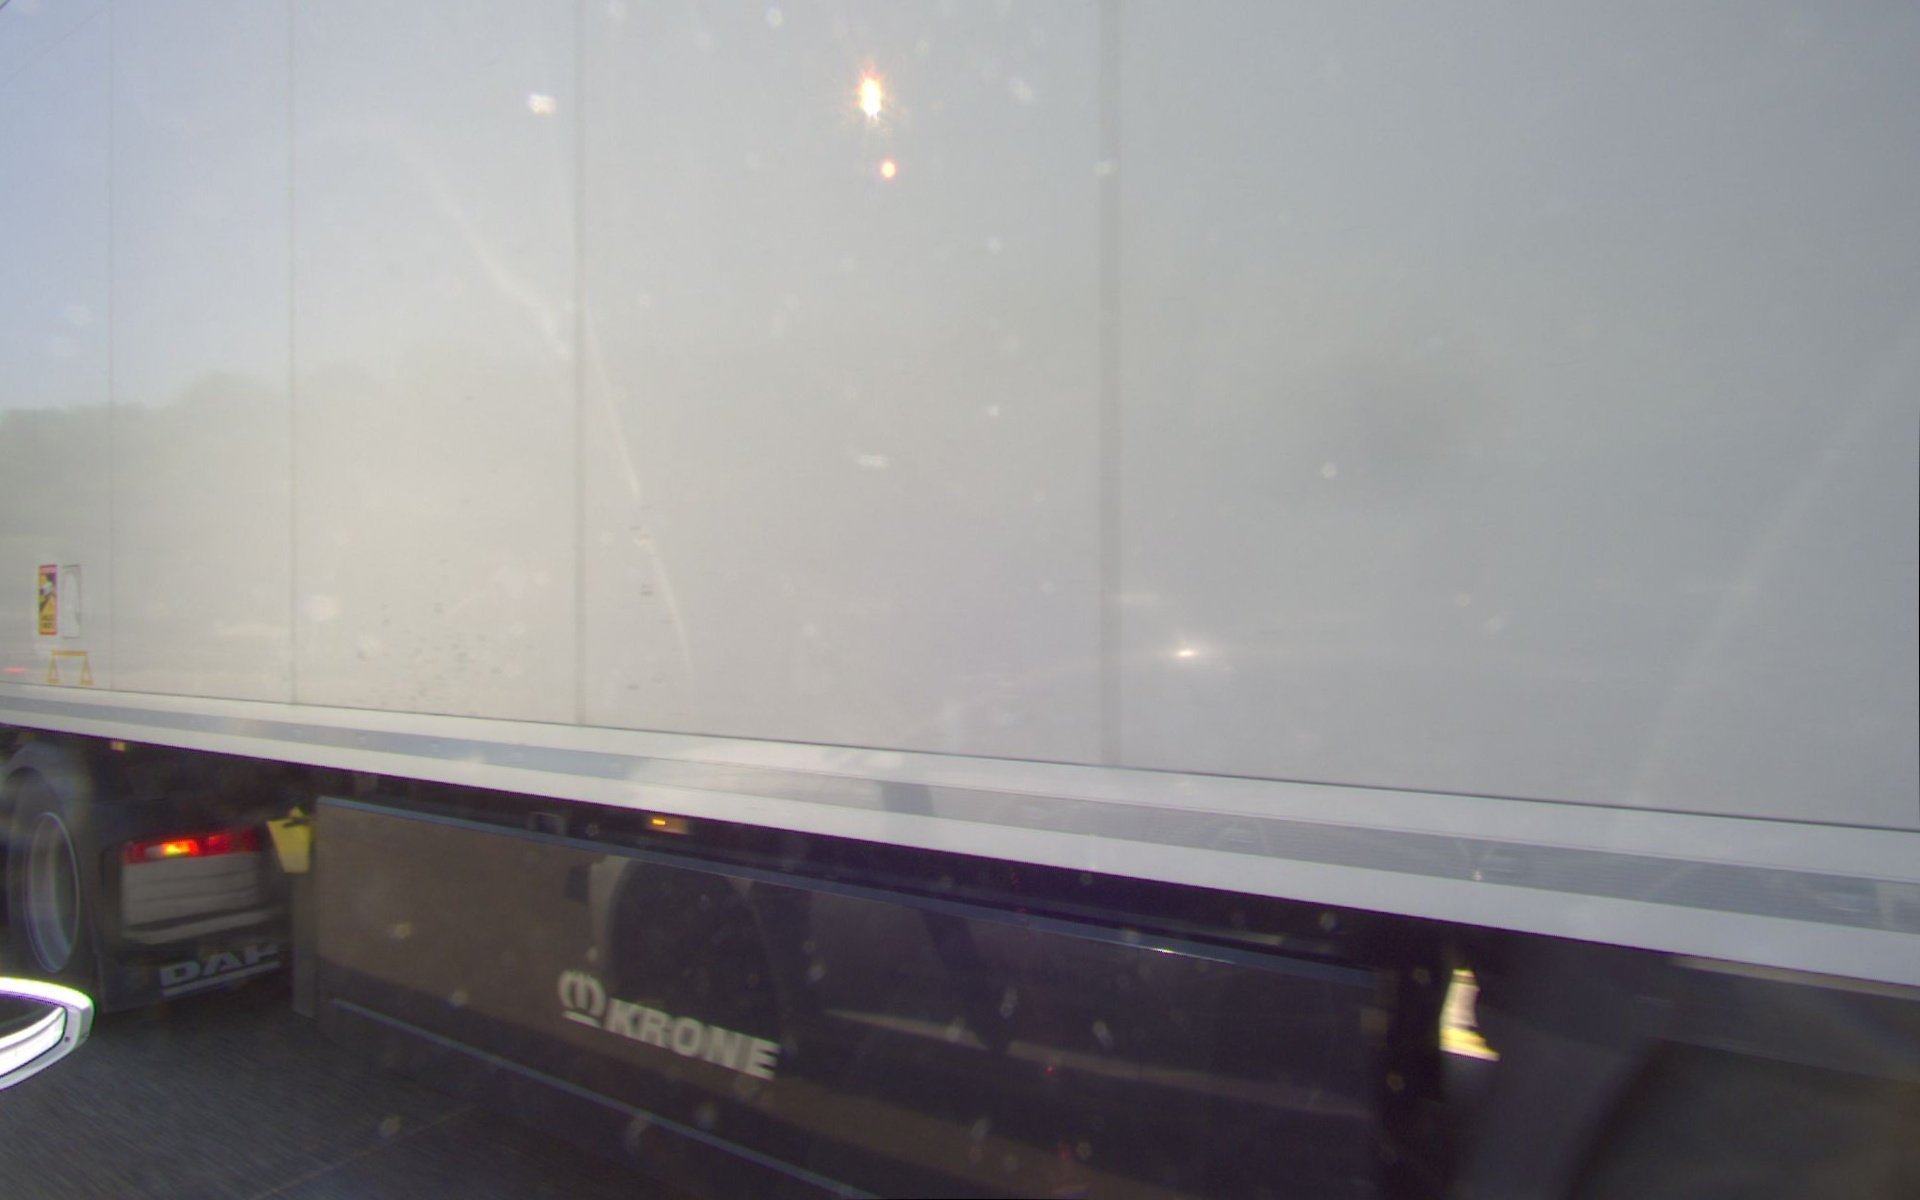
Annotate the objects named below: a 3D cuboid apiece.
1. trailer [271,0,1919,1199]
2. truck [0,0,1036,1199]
[{"bbox_3d":[3.776,-0.578,0.591,11.382,4.179,2.528,-1,-2,32],"label":"trailer"},{"bbox_3d":[-3.765,-0.531,5.306,8.120,4.076,2.509,-1,-2,32],"label":"truck"}]
